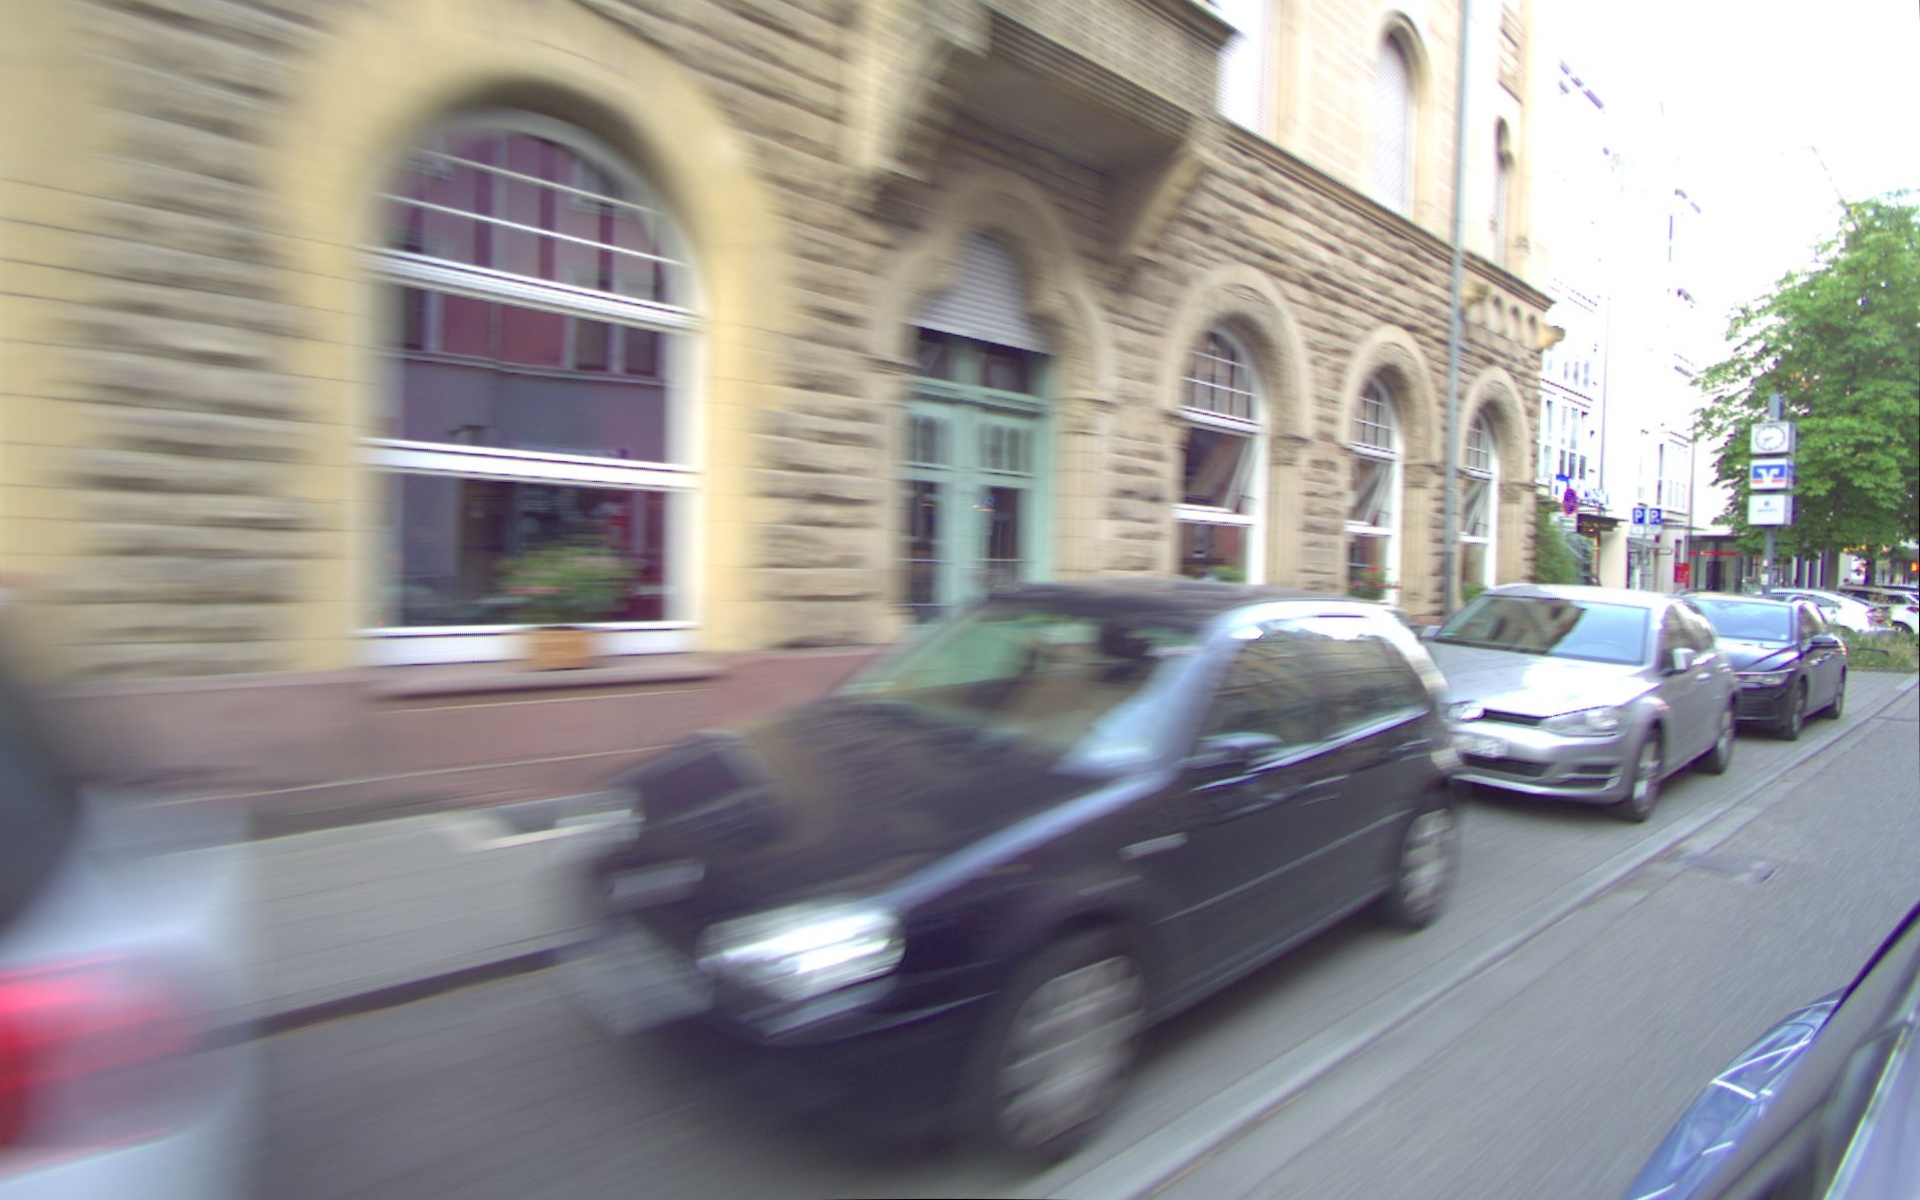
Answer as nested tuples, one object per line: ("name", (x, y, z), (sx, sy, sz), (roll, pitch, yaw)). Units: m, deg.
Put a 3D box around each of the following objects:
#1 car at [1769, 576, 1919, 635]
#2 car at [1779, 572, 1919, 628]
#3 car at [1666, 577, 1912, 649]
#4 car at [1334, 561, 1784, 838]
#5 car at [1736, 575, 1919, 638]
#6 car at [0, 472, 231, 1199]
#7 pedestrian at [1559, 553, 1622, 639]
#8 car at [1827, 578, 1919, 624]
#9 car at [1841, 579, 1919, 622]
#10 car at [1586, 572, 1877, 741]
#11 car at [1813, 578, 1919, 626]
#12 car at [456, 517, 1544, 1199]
("car", (26.261, 0.143, 29.226), (1.792, 1.547, 4.297), (0, 2, -42))
("car", (29.775, -0.031, 33.178), (1.792, 1.697, 4.297), (0, 2, -42))
("car", (19.568, 0.233, 24.044), (1.792, 1.469, 4.297), (-1, 3, -42))
("car", (4.859, 0.516, 7.894), (4.480, 1.502, 1.766), (-1, 4, -43))
("car", (24.279, 0.132, 27.916), (1.792, 1.547, 4.297), (0, 2, -42))
("car", (-3.110, 0.543, 0.562), (4.380, 1.502, 1.770), (0, 5, -36))
("pedestrian", (13.673, -0.099, 21.948), (0.818, 1.788, 0.852), (0, 3, -38))
("car", (33.912, 0.057, 36.102), (1.792, 1.547, 4.297), (0, 2, -42))
("car", (35.769, 0.034, 37.672), (1.792, 1.547, 4.297), (0, 2, -42))
("car", (8.968, 0.494, 11.615), (4.478, 1.502, 1.767), (-1, 4, -41))
("car", (32.164, 0.068, 34.653), (1.792, 1.555, 4.297), (0, 2, -42))
("car", (0.661, 0.545, 4.068), (1.765, 1.502, 4.484), (7, 5, 44))
